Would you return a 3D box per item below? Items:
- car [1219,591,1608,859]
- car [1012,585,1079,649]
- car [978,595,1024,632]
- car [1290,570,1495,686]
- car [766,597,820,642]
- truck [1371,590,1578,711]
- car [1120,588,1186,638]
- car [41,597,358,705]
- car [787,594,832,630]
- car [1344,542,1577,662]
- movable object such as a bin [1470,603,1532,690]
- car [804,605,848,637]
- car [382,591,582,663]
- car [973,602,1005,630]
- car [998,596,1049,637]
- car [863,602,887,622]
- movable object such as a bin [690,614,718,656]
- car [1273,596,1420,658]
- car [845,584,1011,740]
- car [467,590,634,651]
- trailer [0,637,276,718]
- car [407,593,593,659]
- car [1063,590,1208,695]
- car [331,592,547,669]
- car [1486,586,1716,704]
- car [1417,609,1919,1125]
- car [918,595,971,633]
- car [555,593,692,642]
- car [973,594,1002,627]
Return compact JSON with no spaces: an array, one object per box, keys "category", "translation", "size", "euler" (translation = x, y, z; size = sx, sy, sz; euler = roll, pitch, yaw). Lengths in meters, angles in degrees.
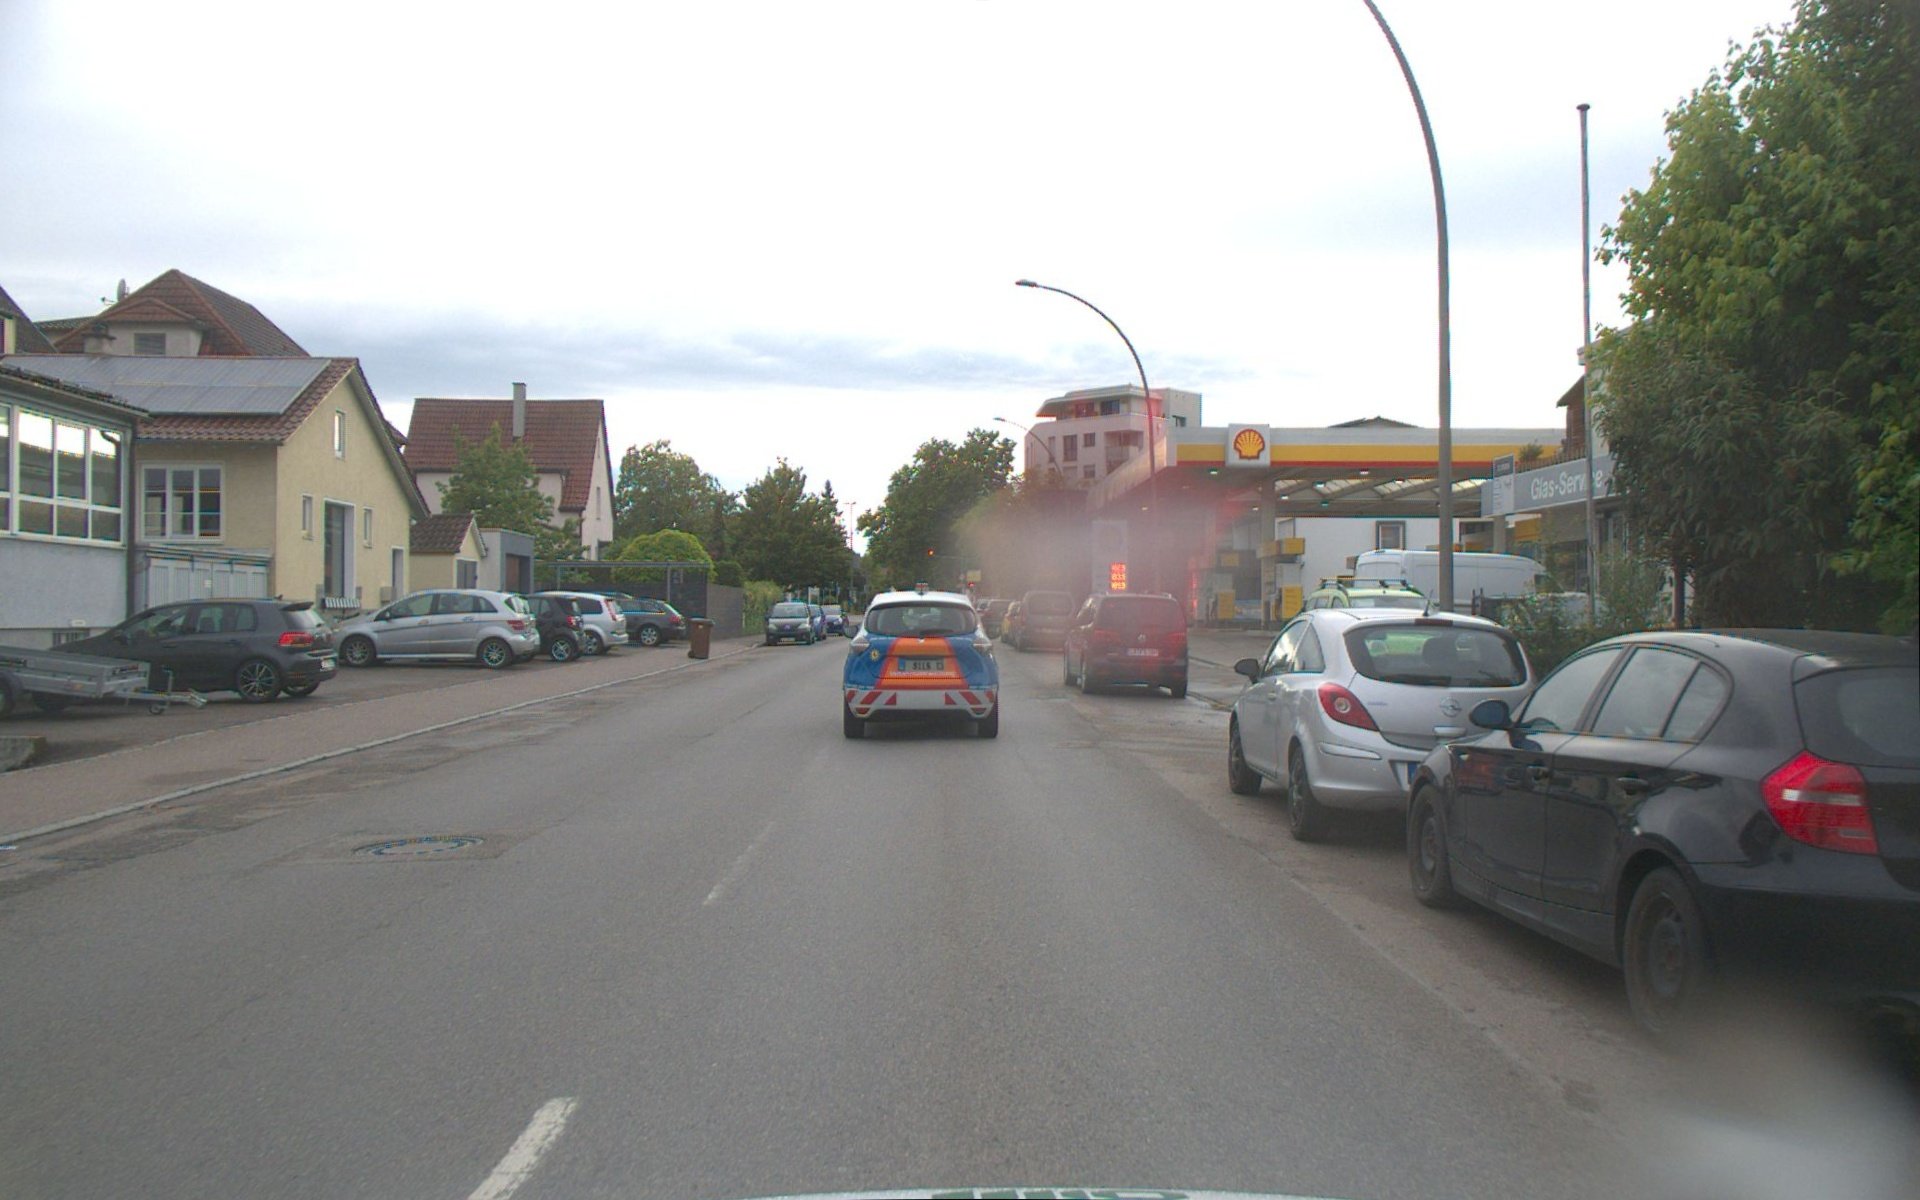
[{"category":"car","translation":[2.984,0.728,11.722],"size":[1.702,1.528,3.881],"euler":[2,0,1]},{"category":"car","translation":[2.530,0.492,49.749],"size":[1.622,1.768,4.443],"euler":[2,0,-1]},{"category":"car","translation":[1.979,0.656,81.559],"size":[2.048,1.691,4.558],"euler":[1,1,-1]},{"category":"car","translation":[6.815,0.410,26.492],"size":[1.955,1.712,3.996],"euler":[0,0,-5]},{"category":"car","translation":[-6.019,0.680,60.006],"size":[1.576,1.532,3.706],"euler":[-1,0,-1]},{"category":"truck","translation":[7.012,0.662,22.690],"size":[2.500,1.556,1.327],"euler":[1,0,7]},{"category":"car","translation":[7.225,0.475,62.281],"size":[1.783,1.790,3.997],"euler":[0,0,-3]},{"category":"car","translation":[-11.025,0.714,24.183],"size":[3.795,1.463,1.767],"euler":[-1,0,-2]},{"category":"car","translation":[-6.175,0.491,68.070],"size":[1.514,1.427,3.596],"euler":[-1,0,-1]},{"category":"car","translation":[11.259,0.038,37.200],"size":[4.723,2.564,2.232],"euler":[0,0,-23]},{"category":"movable object such as a bin","translation":[6.948,0.586,21.252],"size":[0.563,1.094,0.681],"euler":[0,0,-2]},{"category":"car","translation":[-6.318,0.979,78.364],"size":[1.770,1.427,3.944],"euler":[-1,0,-1]},{"category":"car","translation":[-10.669,0.578,37.130],"size":[4.004,1.559,1.812],"euler":[0,0,-5]},{"category":"car","translation":[1.760,0.959,102.876],"size":[1.828,1.694,4.319],"euler":[1,0,-1]},{"category":"car","translation":[2.262,0.584,59.872],"size":[1.622,1.426,3.800],"euler":[0,0,-1]},{"category":"car","translation":[-6.375,0.886,124.390],"size":[1.593,1.458,3.684],"euler":[0,0,1]},{"category":"movable object such as a bin","translation":[-6.990,0.961,45.189],"size":[0.584,1.075,0.687],"euler":[5,1,-1]},{"category":"car","translation":[9.246,0.611,39.402],"size":[1.748,1.399,3.976],"euler":[0,0,42]},{"category":"car","translation":[-0.359,0.632,19.209],"size":[1.710,1.609,3.999],"euler":[0,0,-1]},{"category":"car","translation":[-10.581,0.513,42.974],"size":[4.006,1.540,1.881],"euler":[0,0,-7]},{"category":"trailer","translation":[-11.356,0.991,21.581],"size":[4.113,0.959,1.793],"euler":[0,0,-4]},{"category":"car","translation":[-10.807,0.589,39.070],"size":[4.006,1.529,1.754],"euler":[0,0,-7]},{"category":"car","translation":[2.872,0.647,27.904],"size":[1.953,1.624,3.999],"euler":[0,0,-1]},{"category":"car","translation":[-10.896,0.611,34.835],"size":[4.006,1.559,1.997],"euler":[0,0,-7]},{"category":"car","translation":[9.488,0.613,24.798],"size":[1.713,1.546,3.728],"euler":[-3,0,-5]},{"category":"car","translation":[3.237,0.799,6.625],"size":[1.702,1.427,3.718],"euler":[2,0,-1]},{"category":"car","translation":[-0.692,0.626,75.394],"size":[1.951,1.601,4.003],"euler":[1,1,6]},{"category":"car","translation":[-10.336,0.528,51.082],"size":[4.007,1.438,1.711],"euler":[1,0,-8]},{"category":"car","translation":[1.828,0.667,108.758],"size":[1.741,2.064,4.755],"euler":[1,1,2]}]
